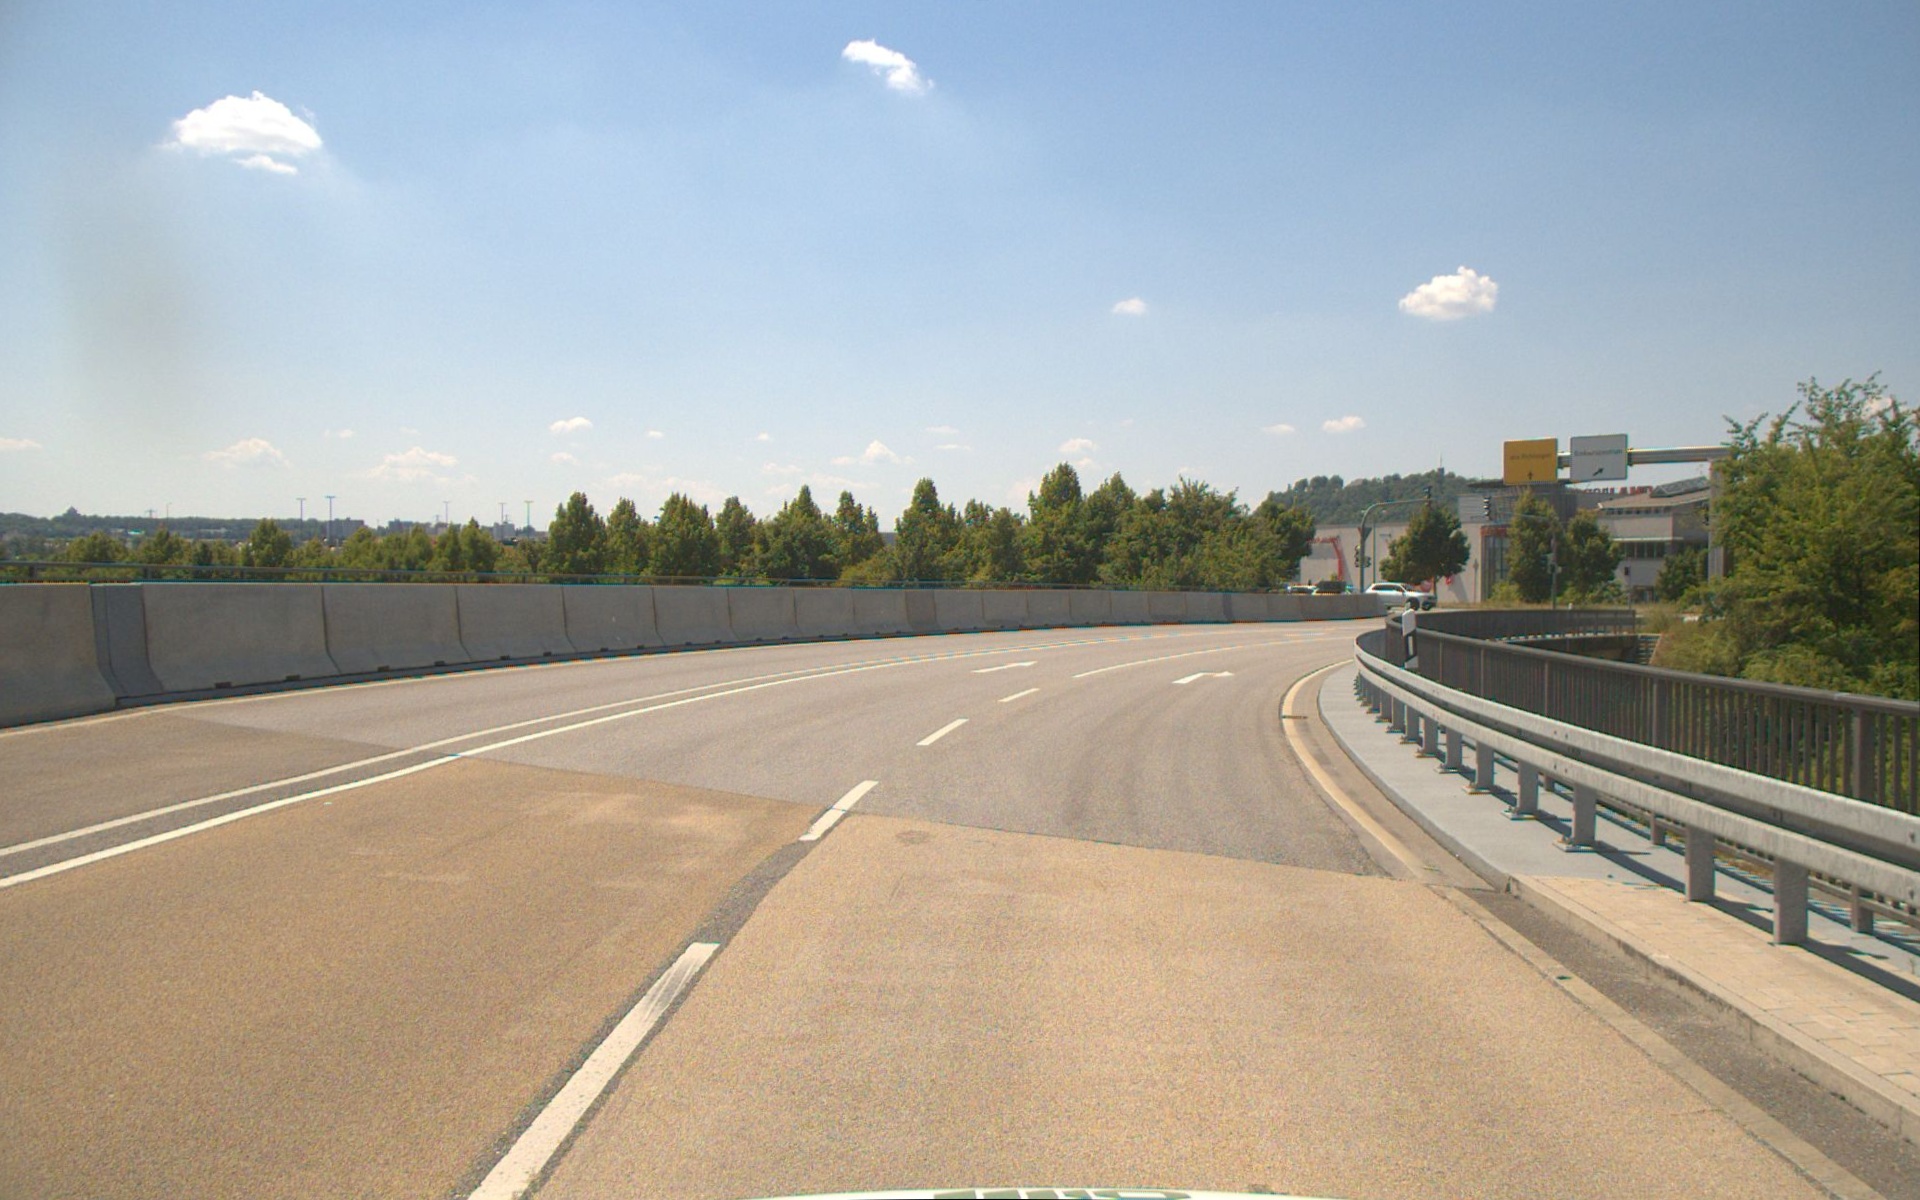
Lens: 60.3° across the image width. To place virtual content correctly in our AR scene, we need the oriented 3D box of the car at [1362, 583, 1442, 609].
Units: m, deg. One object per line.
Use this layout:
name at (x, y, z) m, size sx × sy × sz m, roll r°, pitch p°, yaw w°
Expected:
car at (26.745, -0.269, 100.187) m, size 1.983 × 1.532 × 4.329 m, roll 1°, pitch 0°, yaw -42°
